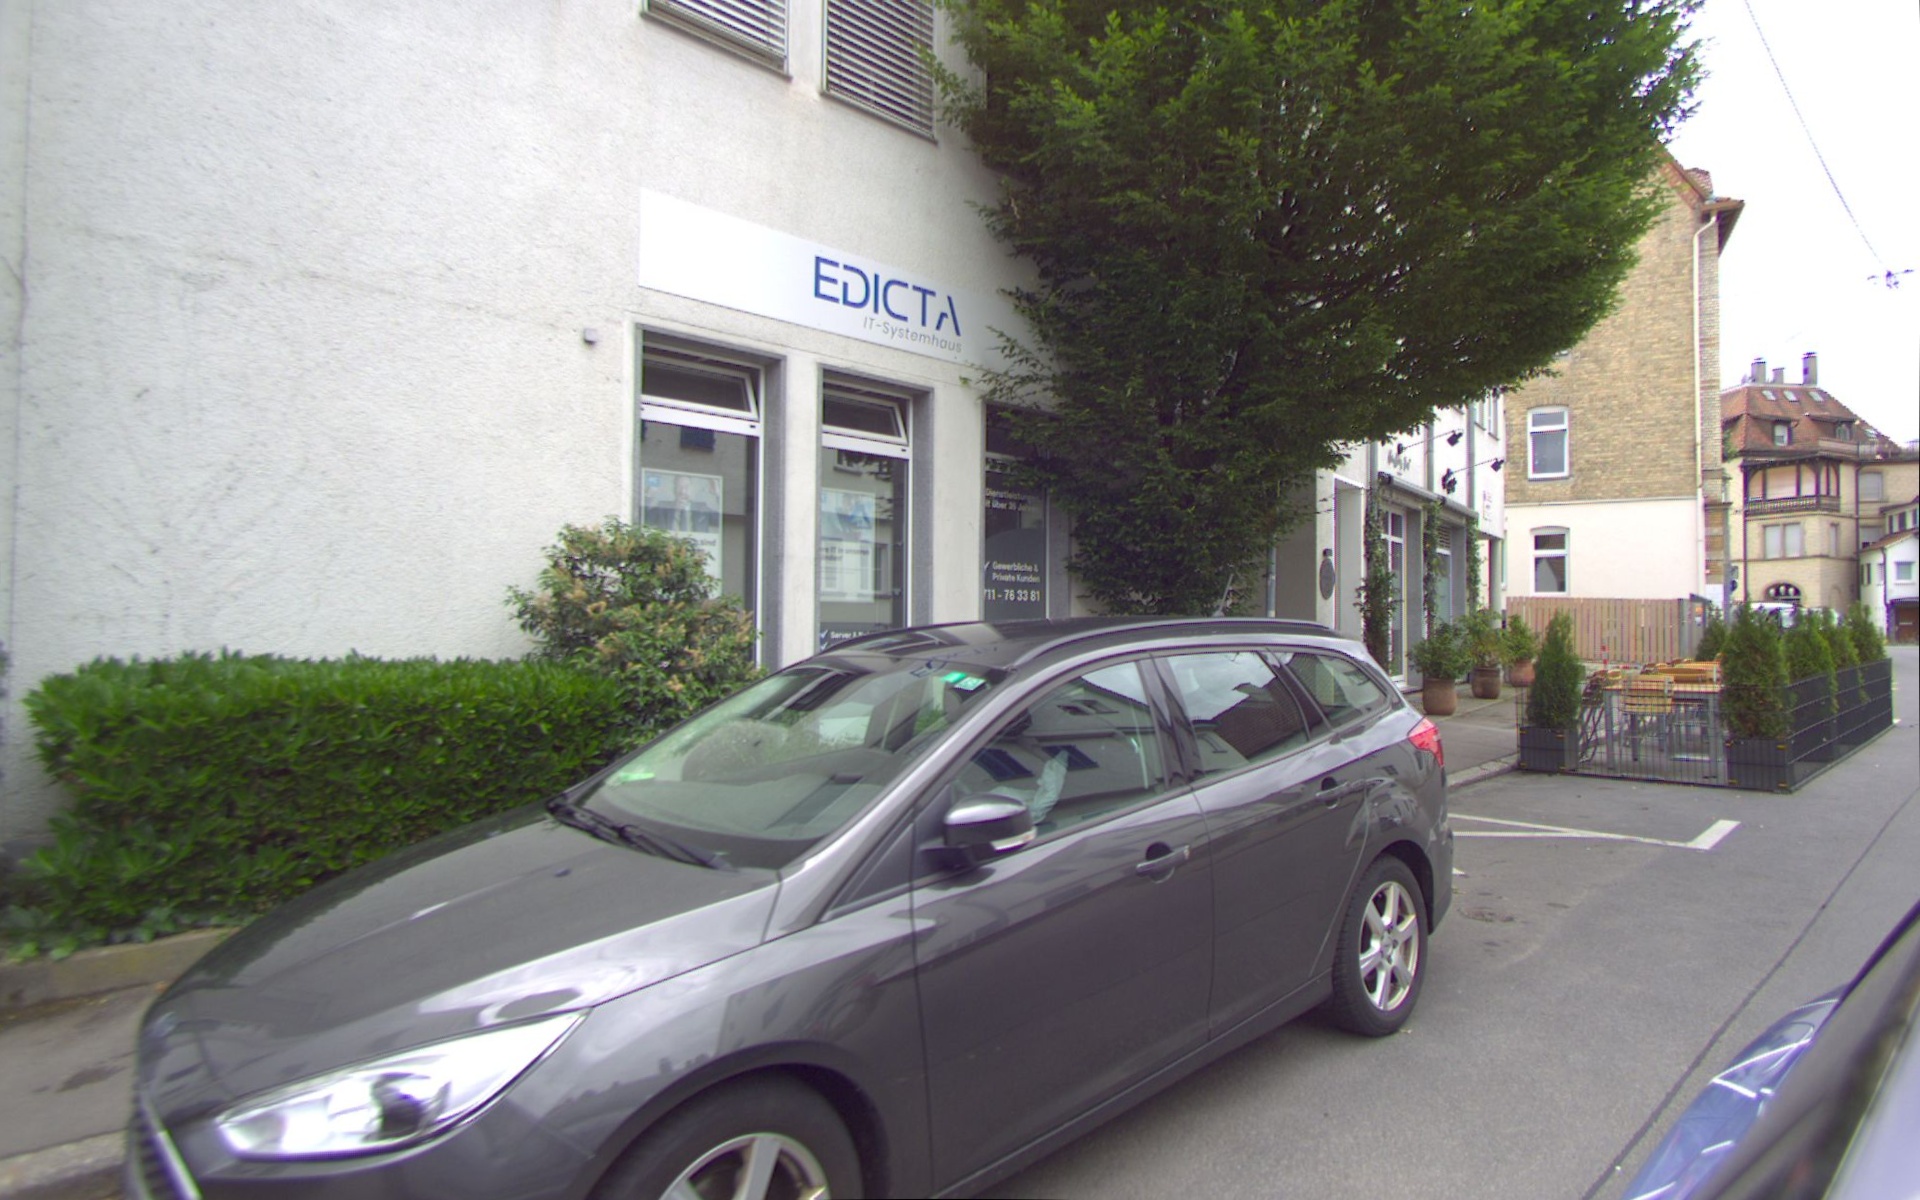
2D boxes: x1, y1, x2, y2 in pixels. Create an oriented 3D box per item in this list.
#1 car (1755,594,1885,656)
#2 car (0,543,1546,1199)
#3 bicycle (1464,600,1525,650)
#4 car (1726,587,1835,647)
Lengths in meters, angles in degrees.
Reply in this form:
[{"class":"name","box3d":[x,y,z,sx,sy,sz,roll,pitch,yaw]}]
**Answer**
[{"class":"car","box3d":[24.501,0.691,29.026,1.776,1.621,4.499,-1,-1,27]},{"class":"car","box3d":[0.032,0.708,3.442,4.736,1.527,1.951,0,-1,-41]},{"class":"bicycle","box3d":[13.962,0.658,26.390,0.958,1.234,2.069,2,-1,40]},{"class":"car","box3d":[26.866,0.566,33.287,1.813,1.815,4.180,-1,-1,26]}]
